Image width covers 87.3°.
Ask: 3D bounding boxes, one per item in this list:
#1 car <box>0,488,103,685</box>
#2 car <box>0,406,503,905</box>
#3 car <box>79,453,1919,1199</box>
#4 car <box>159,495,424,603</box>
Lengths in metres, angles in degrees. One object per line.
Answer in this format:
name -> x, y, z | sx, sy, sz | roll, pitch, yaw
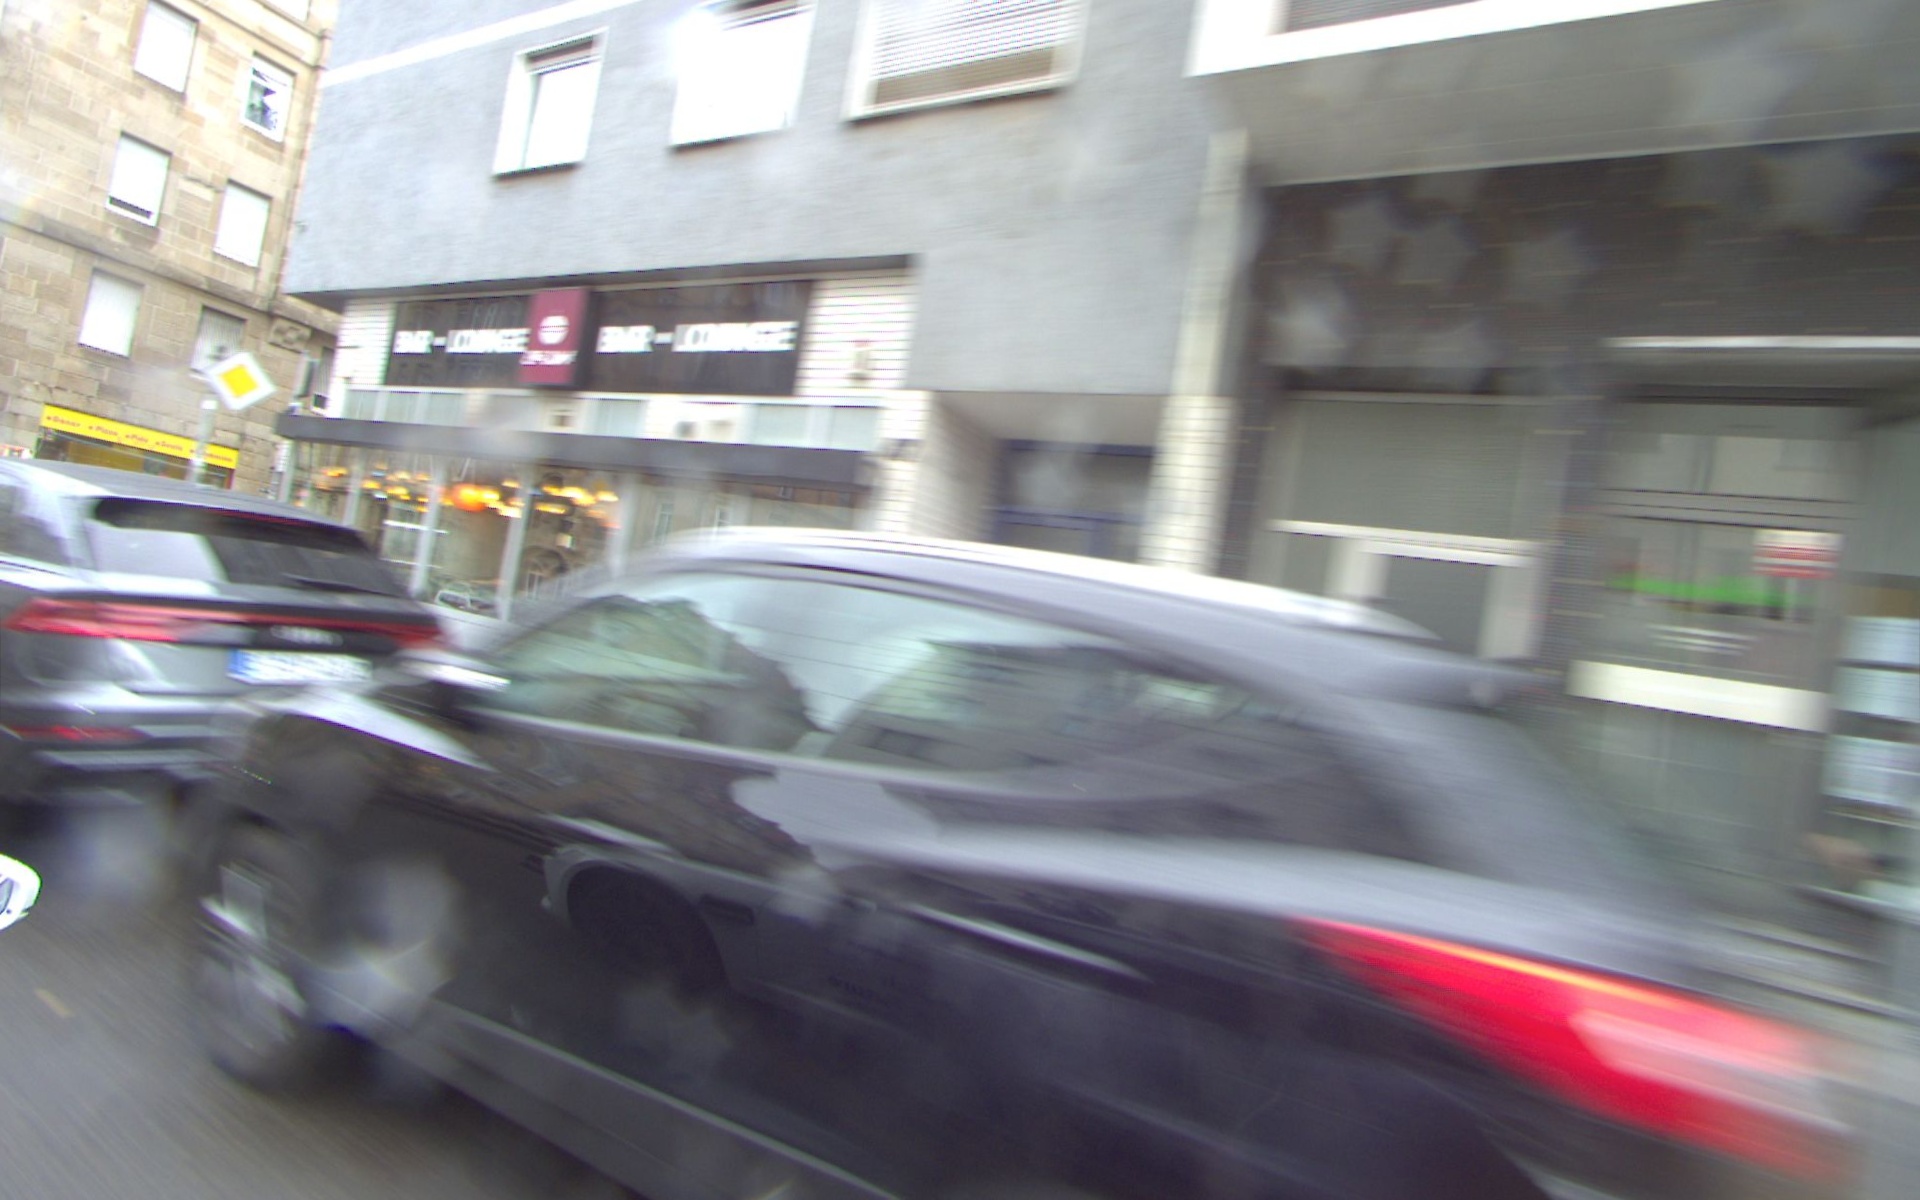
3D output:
car -> -9.183, -0.335, 8.360 | 3.861, 1.500, 1.695 | 7, -1, 27
car -> -4.801, 0.064, 5.481 | 4.489, 1.780, 1.797 | 7, -2, 31
car -> -0.421, 0.666, 2.834 | 4.179, 1.674, 1.821 | 7, 0, 31
car -> -15.756, -1.131, 24.009 | 1.966, 1.884, 4.784 | 7, 0, 30
